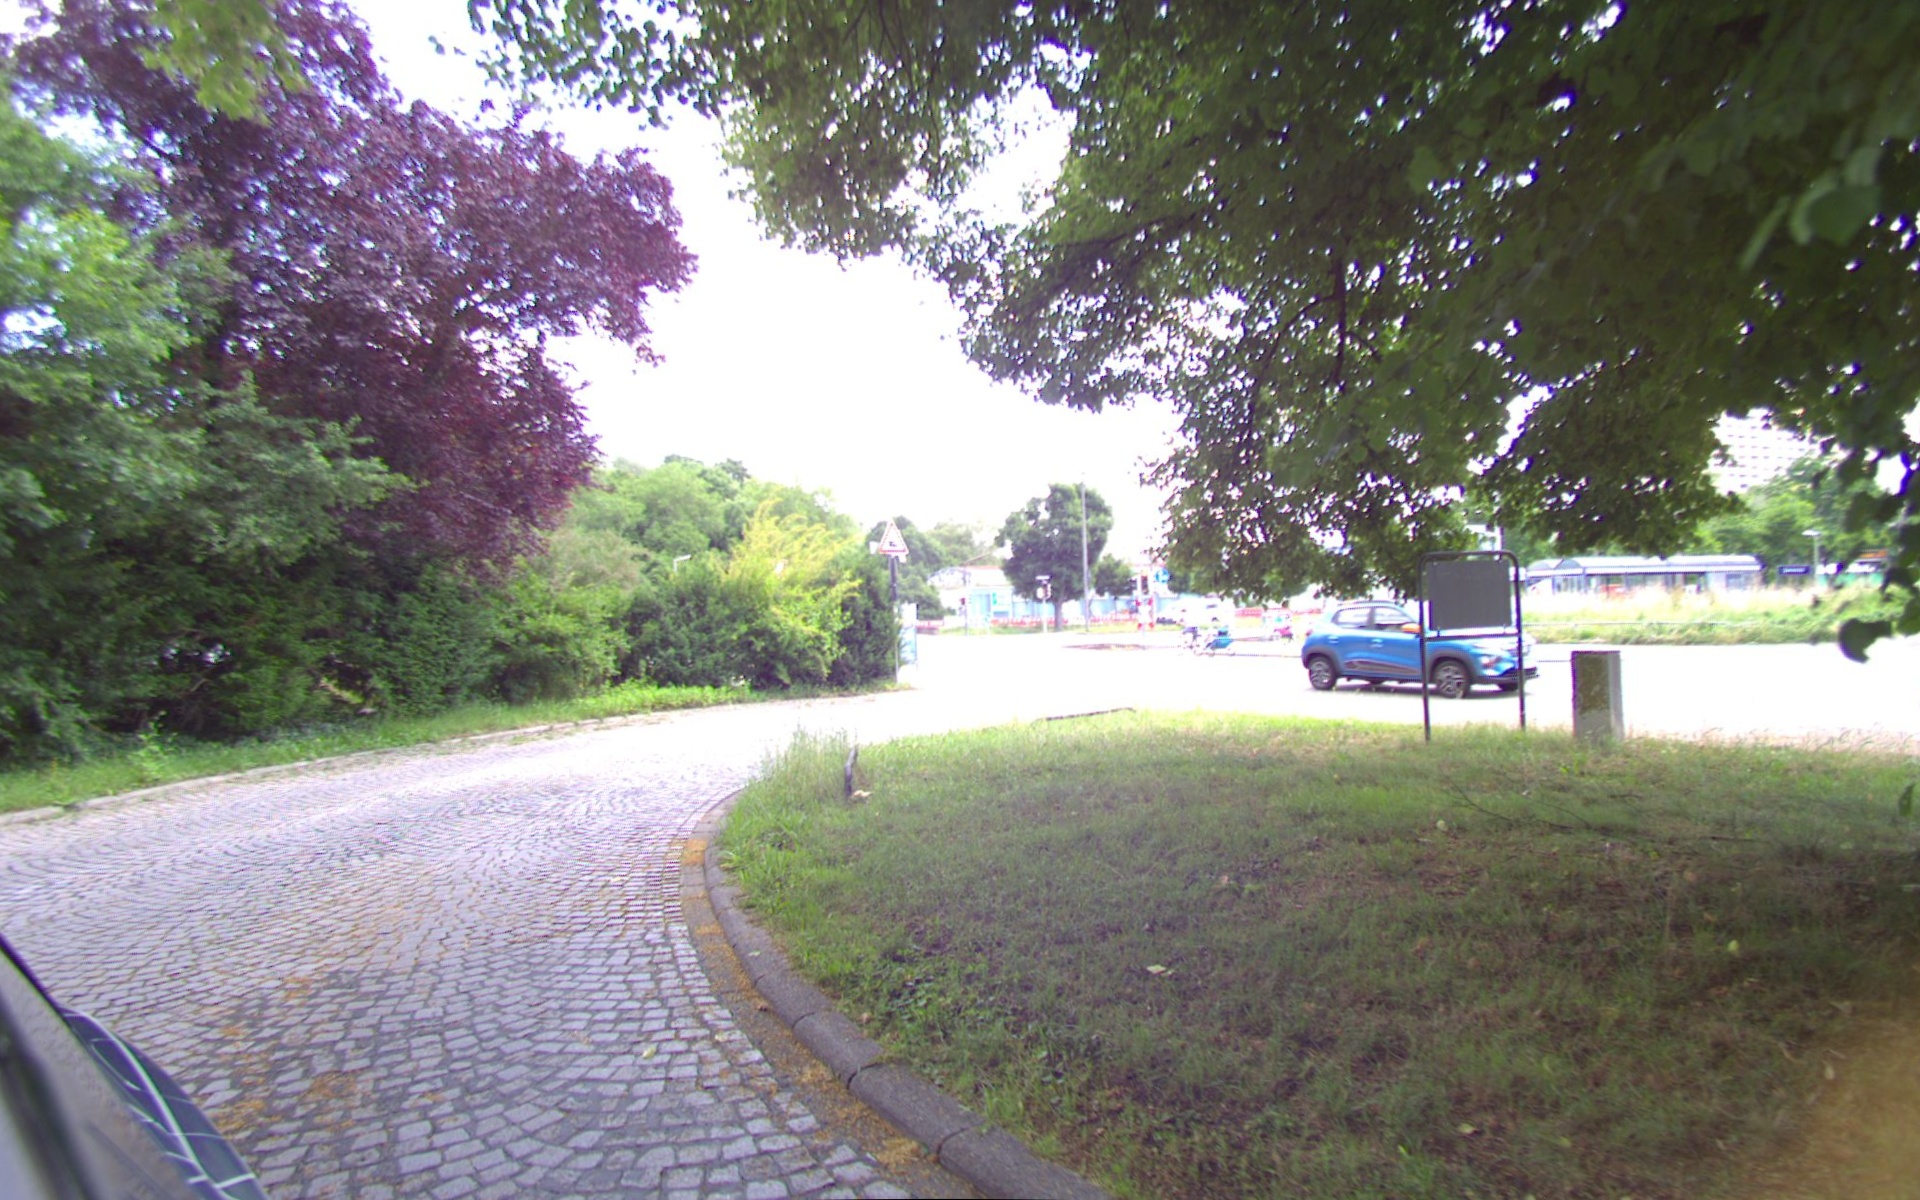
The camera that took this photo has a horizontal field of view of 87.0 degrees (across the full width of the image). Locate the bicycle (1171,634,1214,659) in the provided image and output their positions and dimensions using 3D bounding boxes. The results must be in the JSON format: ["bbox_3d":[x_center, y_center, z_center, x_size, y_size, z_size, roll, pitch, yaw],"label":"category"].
[{"bbox_3d":[7.815,1.561,34.135,0.546,0.771,1.733,-1,-1,-20],"label":"bicycle"}]

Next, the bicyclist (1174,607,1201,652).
[{"bbox_3d":[7.718,0.995,34.327,0.447,1.486,0.844,-2,-1,-20],"label":"bicyclist"}]

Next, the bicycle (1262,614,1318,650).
[{"bbox_3d":[11.530,1.115,35.396,1.656,1.141,0.693,-5,-2,34],"label":"bicycle"}]

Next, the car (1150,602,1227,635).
[{"bbox_3d":[15.574,1.238,68.953,4.749,2.029,2.006,-2,-1,-21],"label":"car"}]

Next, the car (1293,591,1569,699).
[{"bbox_3d":[7.349,0.713,16.155,1.578,1.475,3.714,-2,-2,-29],"label":"car"}]

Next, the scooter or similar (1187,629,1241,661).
[{"bbox_3d":[8.283,1.461,33.010,0.946,0.987,1.584,-2,-2,-19],"label":"scooter or similar"}]
